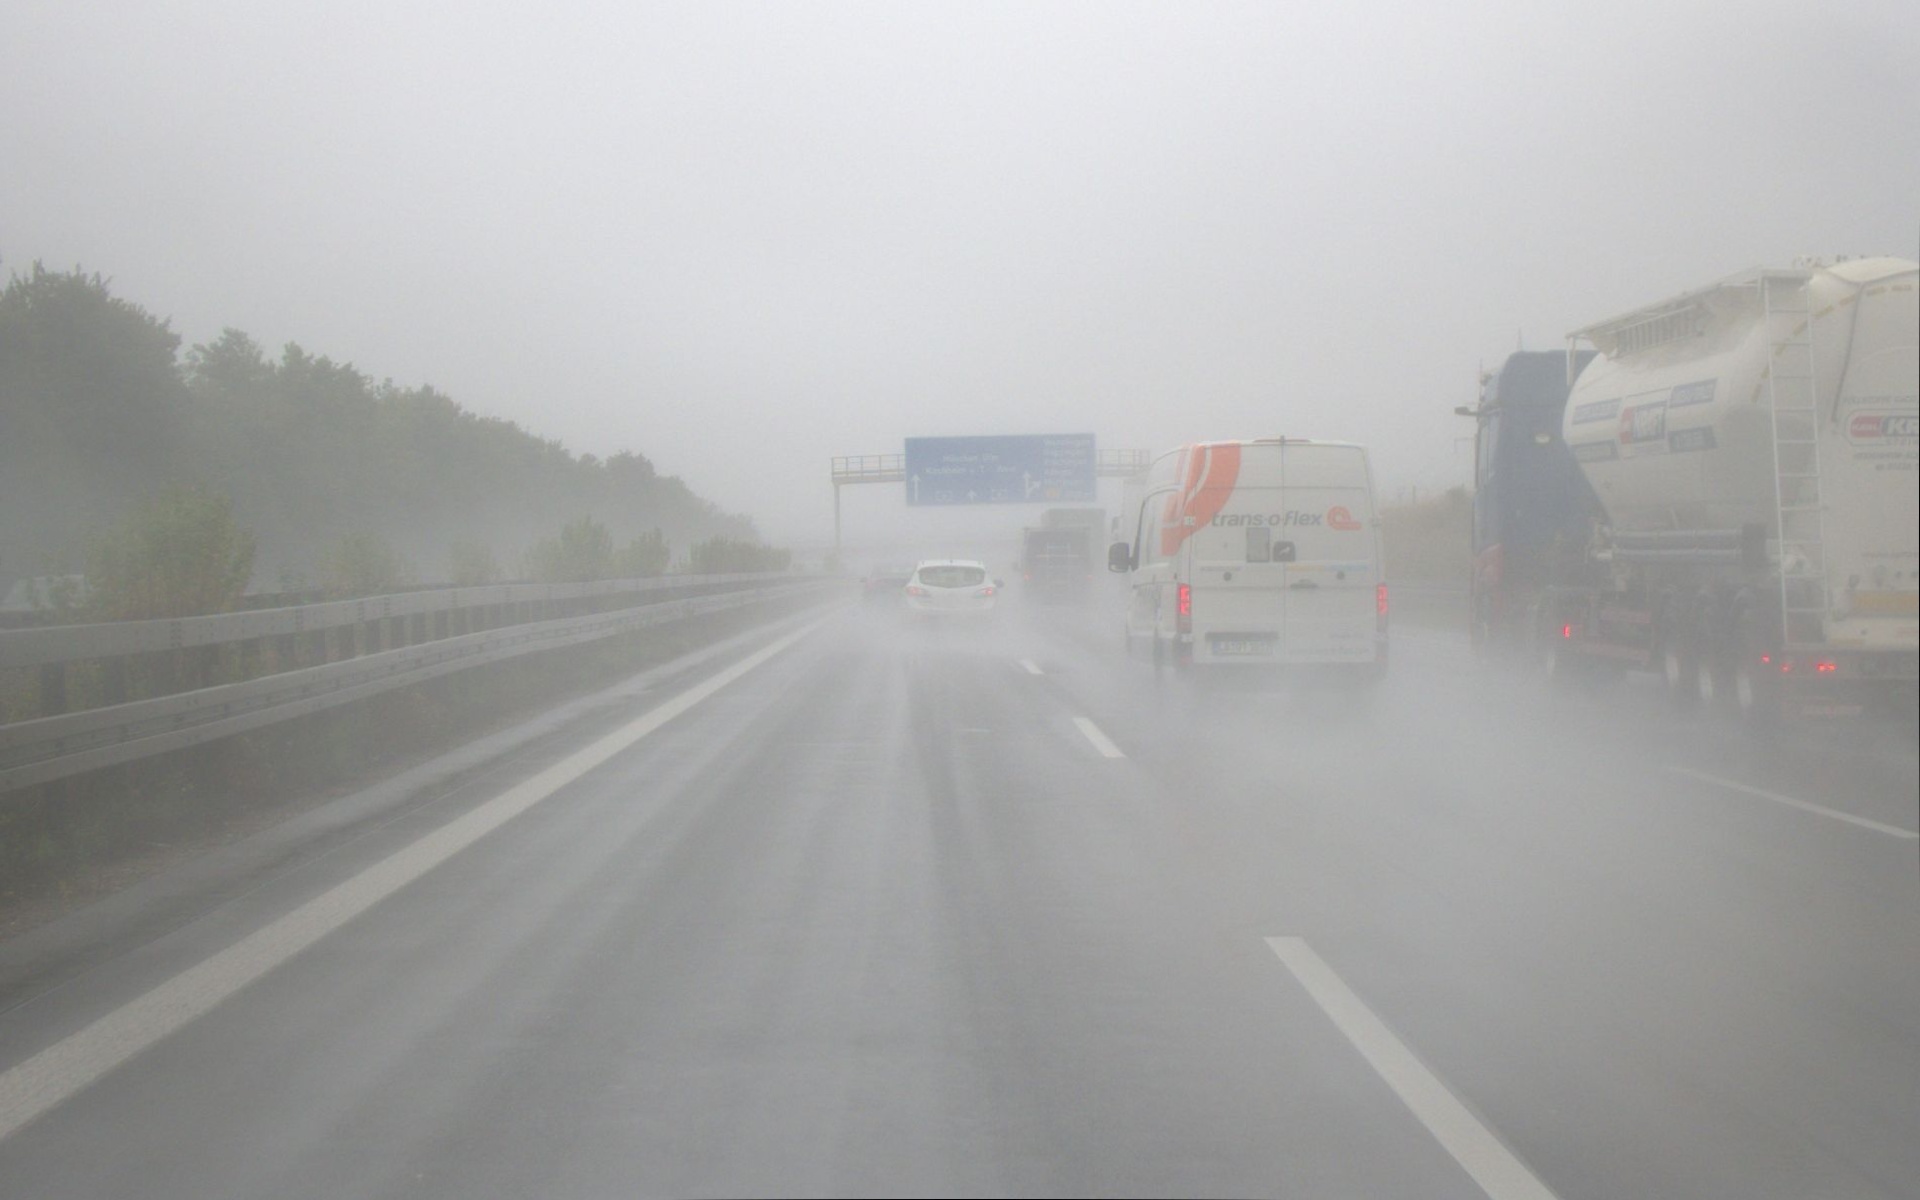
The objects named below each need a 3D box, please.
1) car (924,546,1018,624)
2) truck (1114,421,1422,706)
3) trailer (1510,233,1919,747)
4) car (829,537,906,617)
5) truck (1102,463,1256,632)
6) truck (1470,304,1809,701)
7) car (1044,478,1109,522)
[{"bbox_3d":[0.173,-0.293,62.508,1.605,1.333,3.849,1,1,-1],"label":"car"},{"bbox_3d":[2.830,-0.376,33.018,2.419,2.484,5.560,1,1,0],"label":"truck"},{"bbox_3d":[7.323,-0.932,31.497,2.497,3.869,11.067,1,1,-1],"label":"trailer"},{"bbox_3d":[-2.156,-0.567,80.838,1.702,1.812,3.862,1,1,0],"label":"car"},{"bbox_3d":[6.316,-1.477,102.025,3.039,4.572,16.352,1,0,-2],"label":"truck"},{"bbox_3d":[7.221,-1.030,37.190,2.496,3.970,5.076,1,1,-1],"label":"truck"},{"bbox_3d":[5.466,-4.680,161.880,2.788,2.007,4.993,1,1,-1],"label":"car"}]
